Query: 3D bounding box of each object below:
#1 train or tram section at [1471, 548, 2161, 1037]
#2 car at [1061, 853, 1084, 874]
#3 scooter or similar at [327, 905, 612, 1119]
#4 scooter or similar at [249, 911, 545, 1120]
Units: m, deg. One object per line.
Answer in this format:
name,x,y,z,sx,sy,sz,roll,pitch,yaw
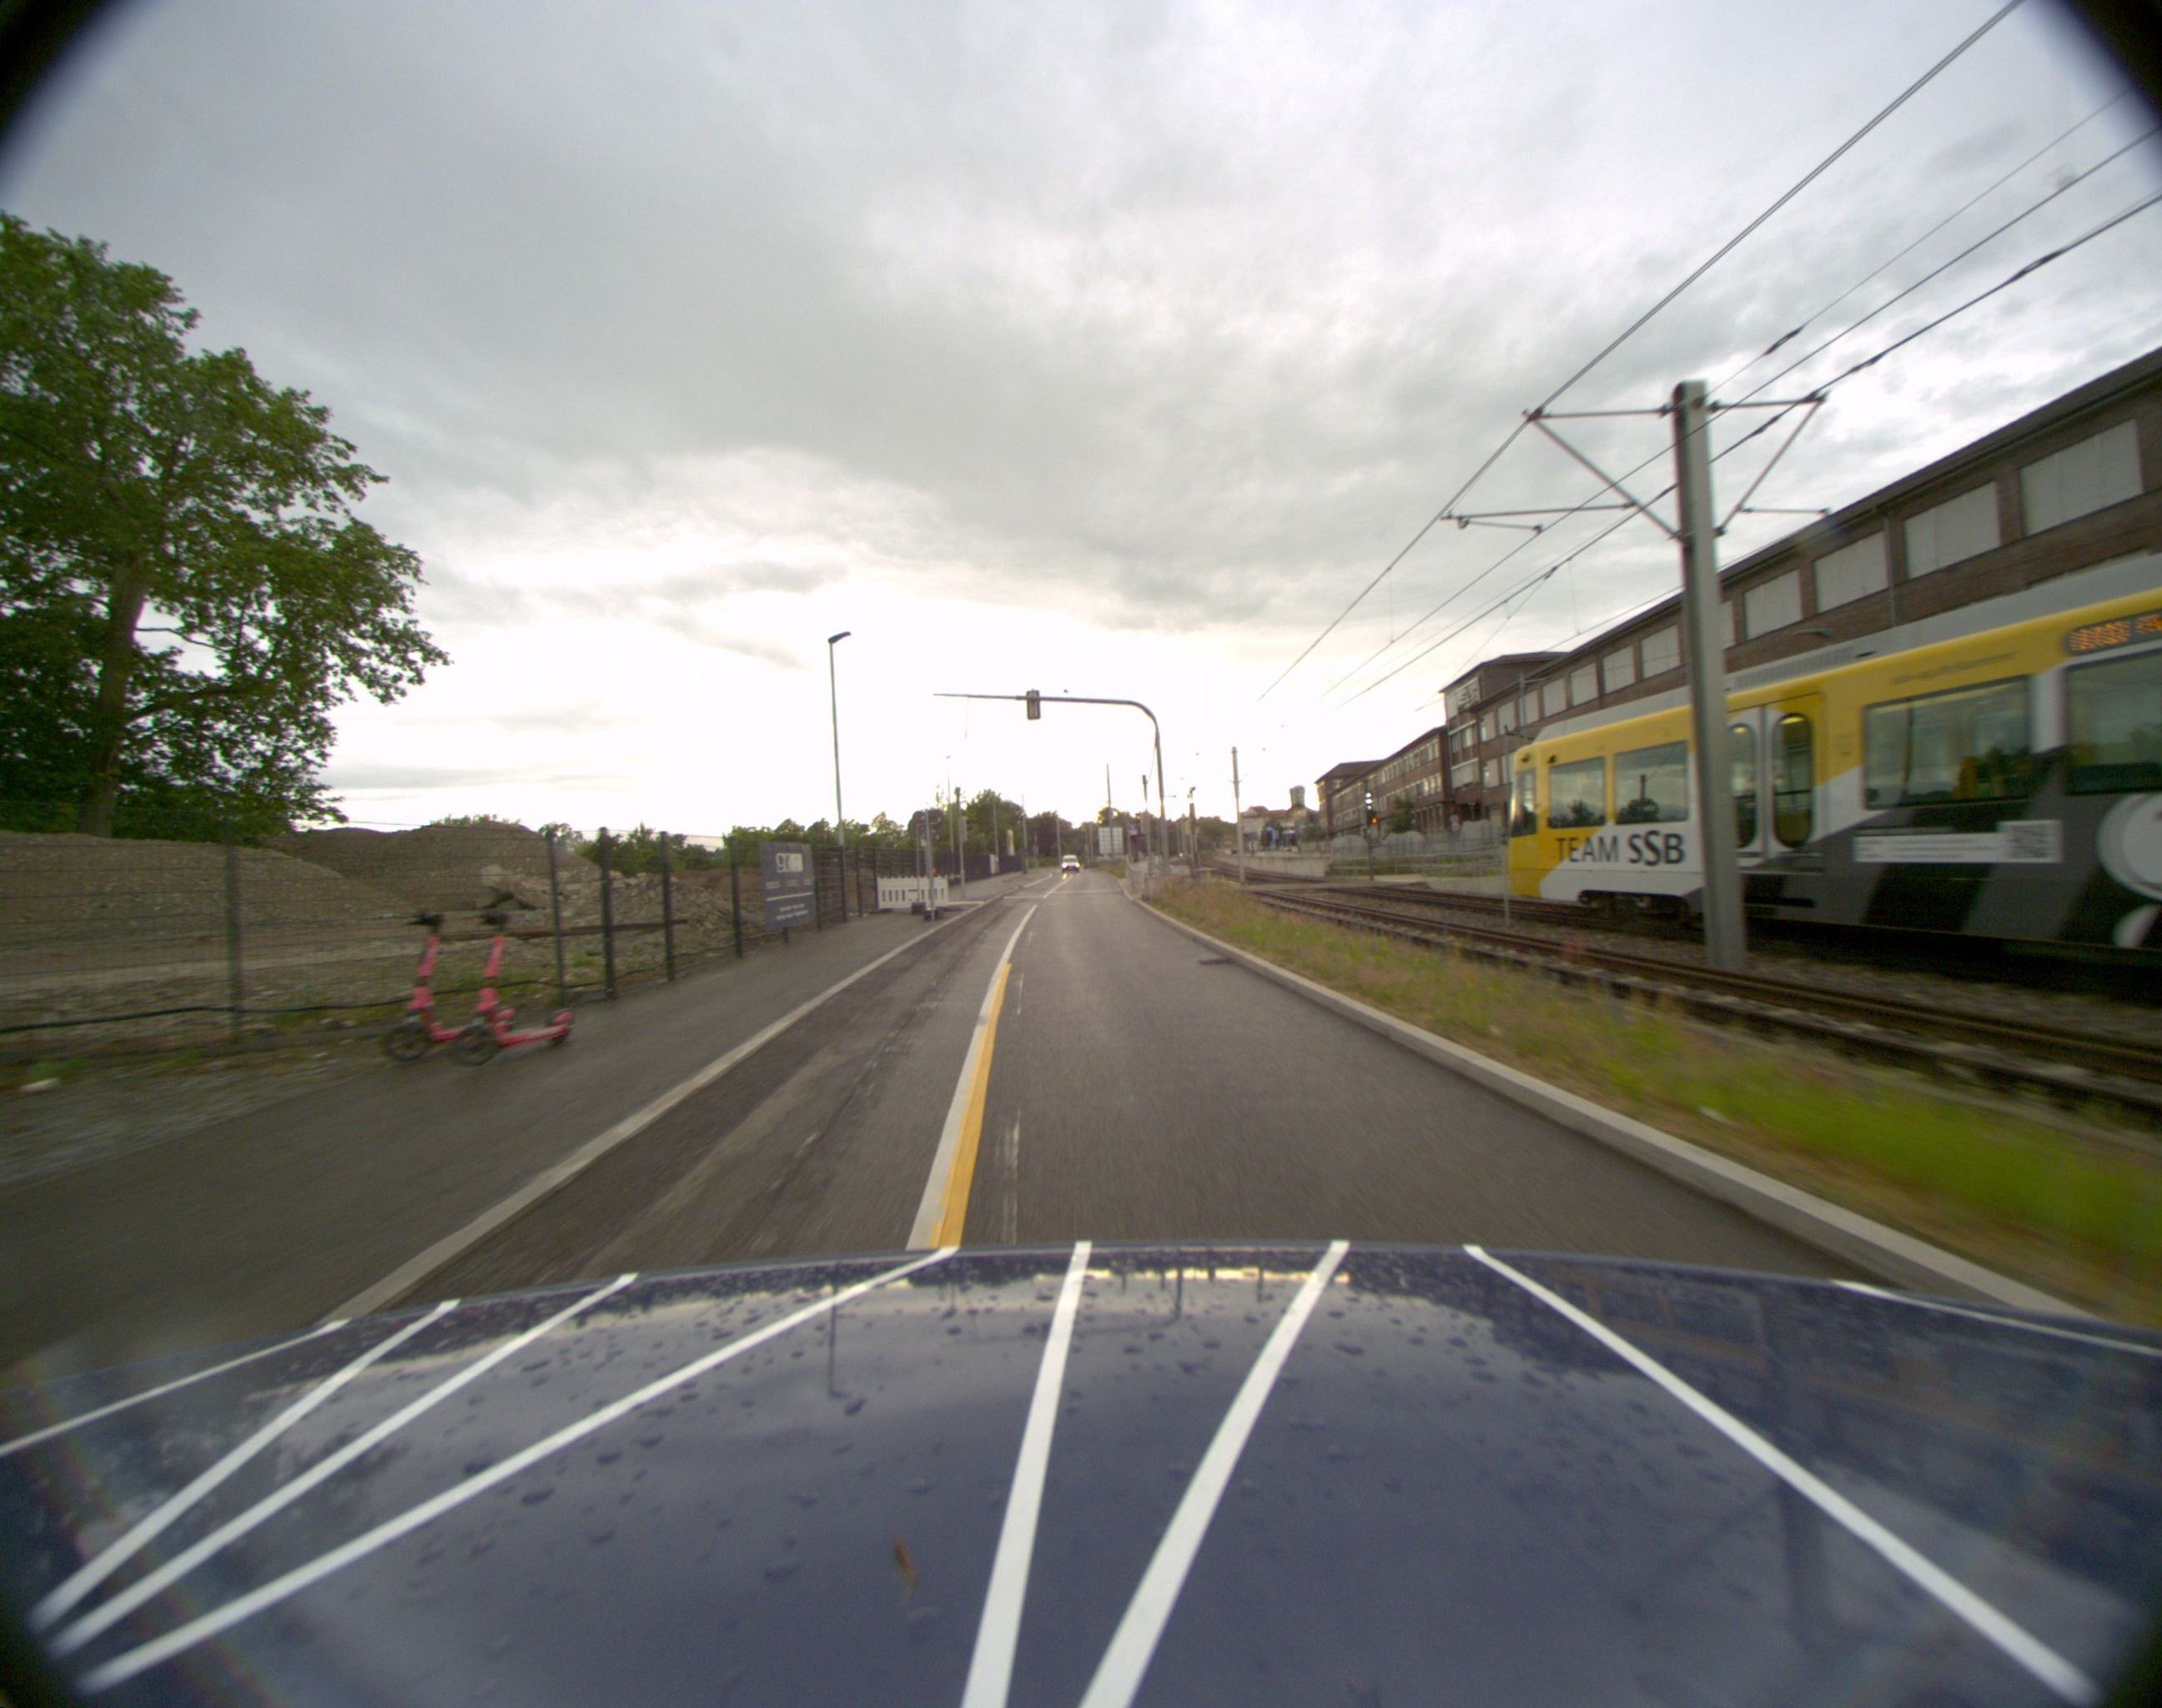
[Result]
train or tram section,10.026,-0.564,6.348,2.963,3.863,19.569,-4,0,-1
car,-0.923,0.993,81.301,2.000,2.002,3.997,-2,1,-6
scooter or similar,-4.855,1.168,6.250,0.616,1.343,1.912,-3,0,4
scooter or similar,-5.630,1.246,6.458,0.616,1.343,1.912,-3,0,4
